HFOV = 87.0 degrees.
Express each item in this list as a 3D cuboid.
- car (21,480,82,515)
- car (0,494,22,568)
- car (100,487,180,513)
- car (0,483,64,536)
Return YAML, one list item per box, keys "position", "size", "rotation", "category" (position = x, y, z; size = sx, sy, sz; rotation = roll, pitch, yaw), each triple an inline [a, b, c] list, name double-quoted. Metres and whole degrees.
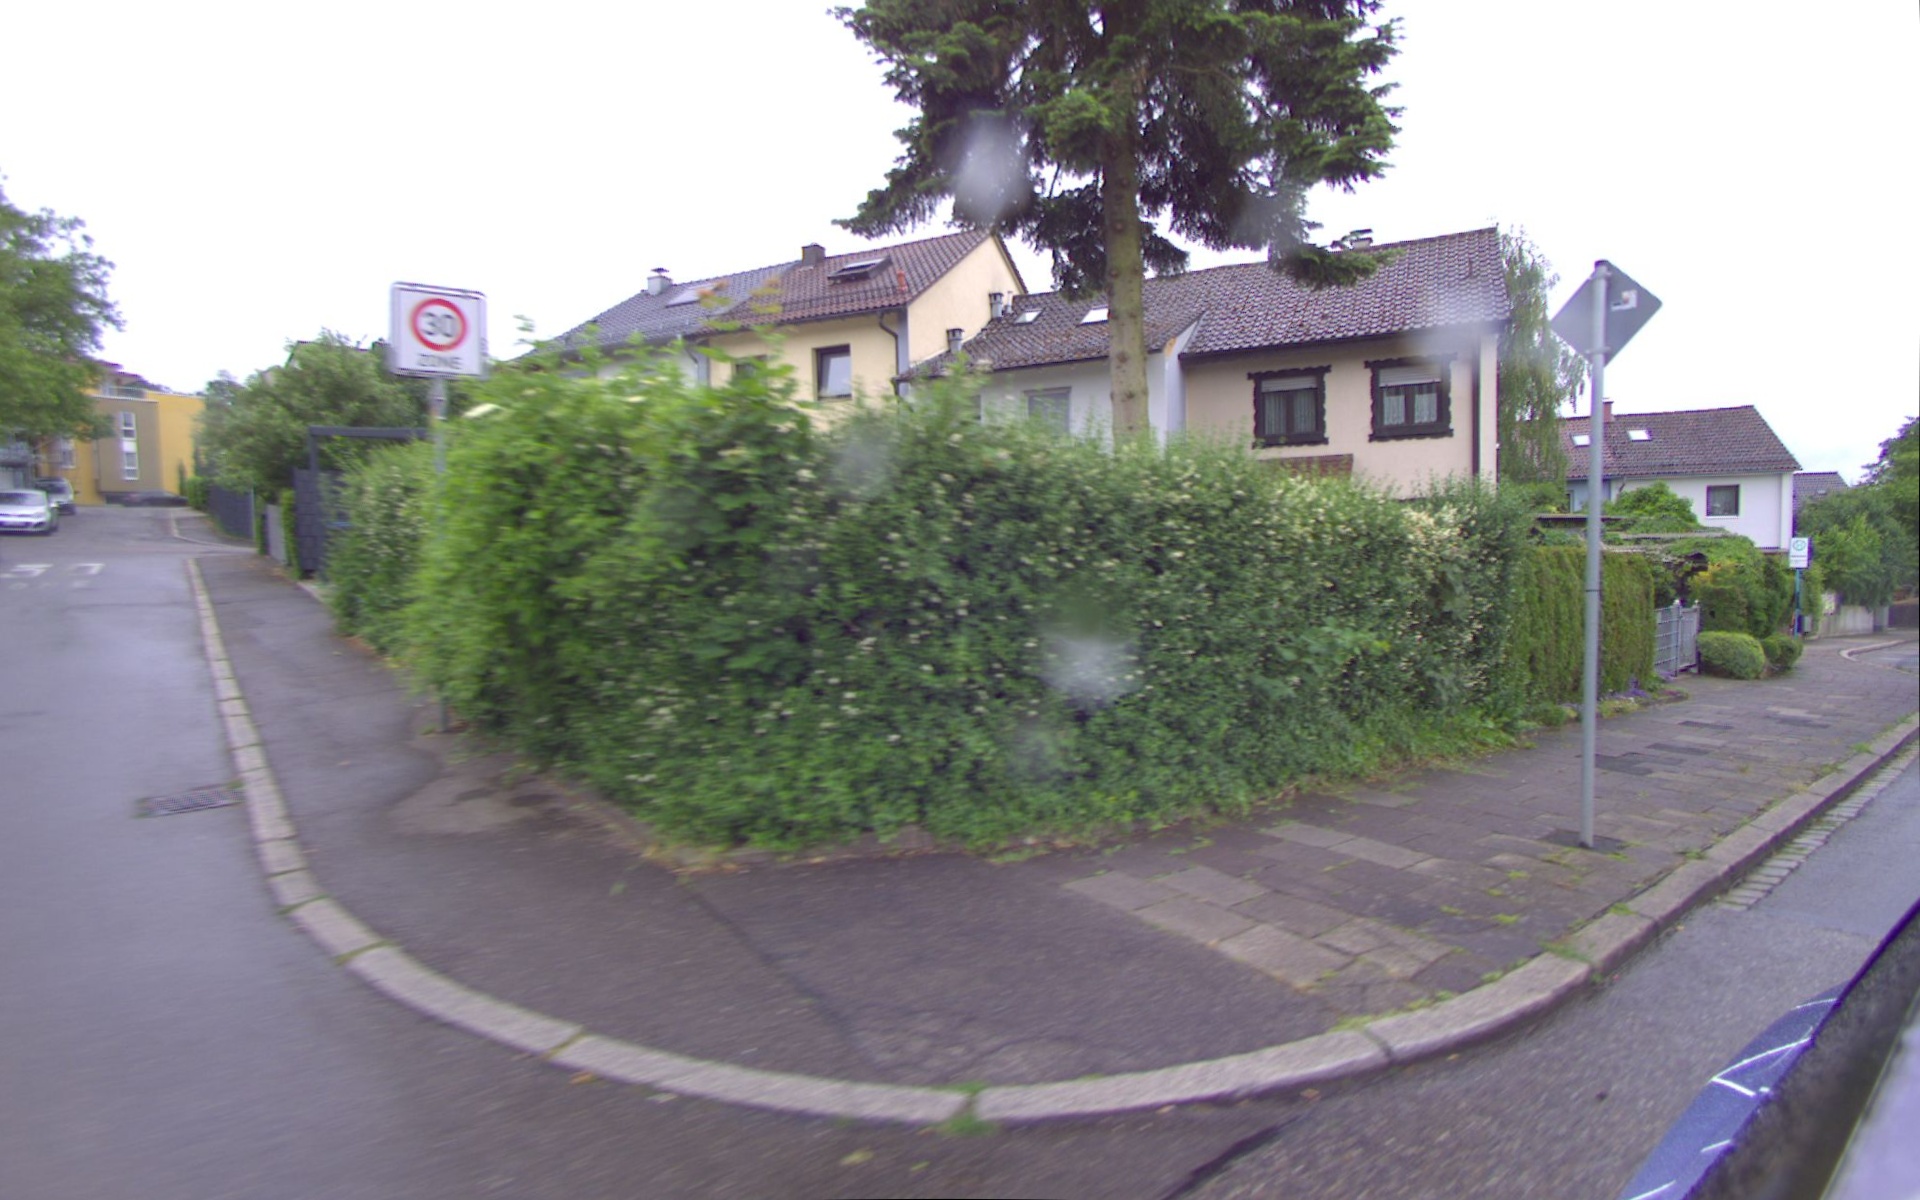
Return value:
- position: [-44.064, -4.981, 49.164]
  size: [1.694, 1.530, 3.790]
  rotation: [0, 5, -34]
  category: "car"
- position: [-22.078, -1.560, 22.240]
  size: [1.695, 1.530, 3.788]
  rotation: [0, 5, -36]
  category: "car"
- position: [-57.993, -7.059, 71.672]
  size: [1.978, 1.471, 3.968]
  rotation: [0, 0, 24]
  category: "car"
- position: [-31.390, -3.054, 33.807]
  size: [1.694, 1.584, 3.790]
  rotation: [0, 6, -34]
  category: "car"
